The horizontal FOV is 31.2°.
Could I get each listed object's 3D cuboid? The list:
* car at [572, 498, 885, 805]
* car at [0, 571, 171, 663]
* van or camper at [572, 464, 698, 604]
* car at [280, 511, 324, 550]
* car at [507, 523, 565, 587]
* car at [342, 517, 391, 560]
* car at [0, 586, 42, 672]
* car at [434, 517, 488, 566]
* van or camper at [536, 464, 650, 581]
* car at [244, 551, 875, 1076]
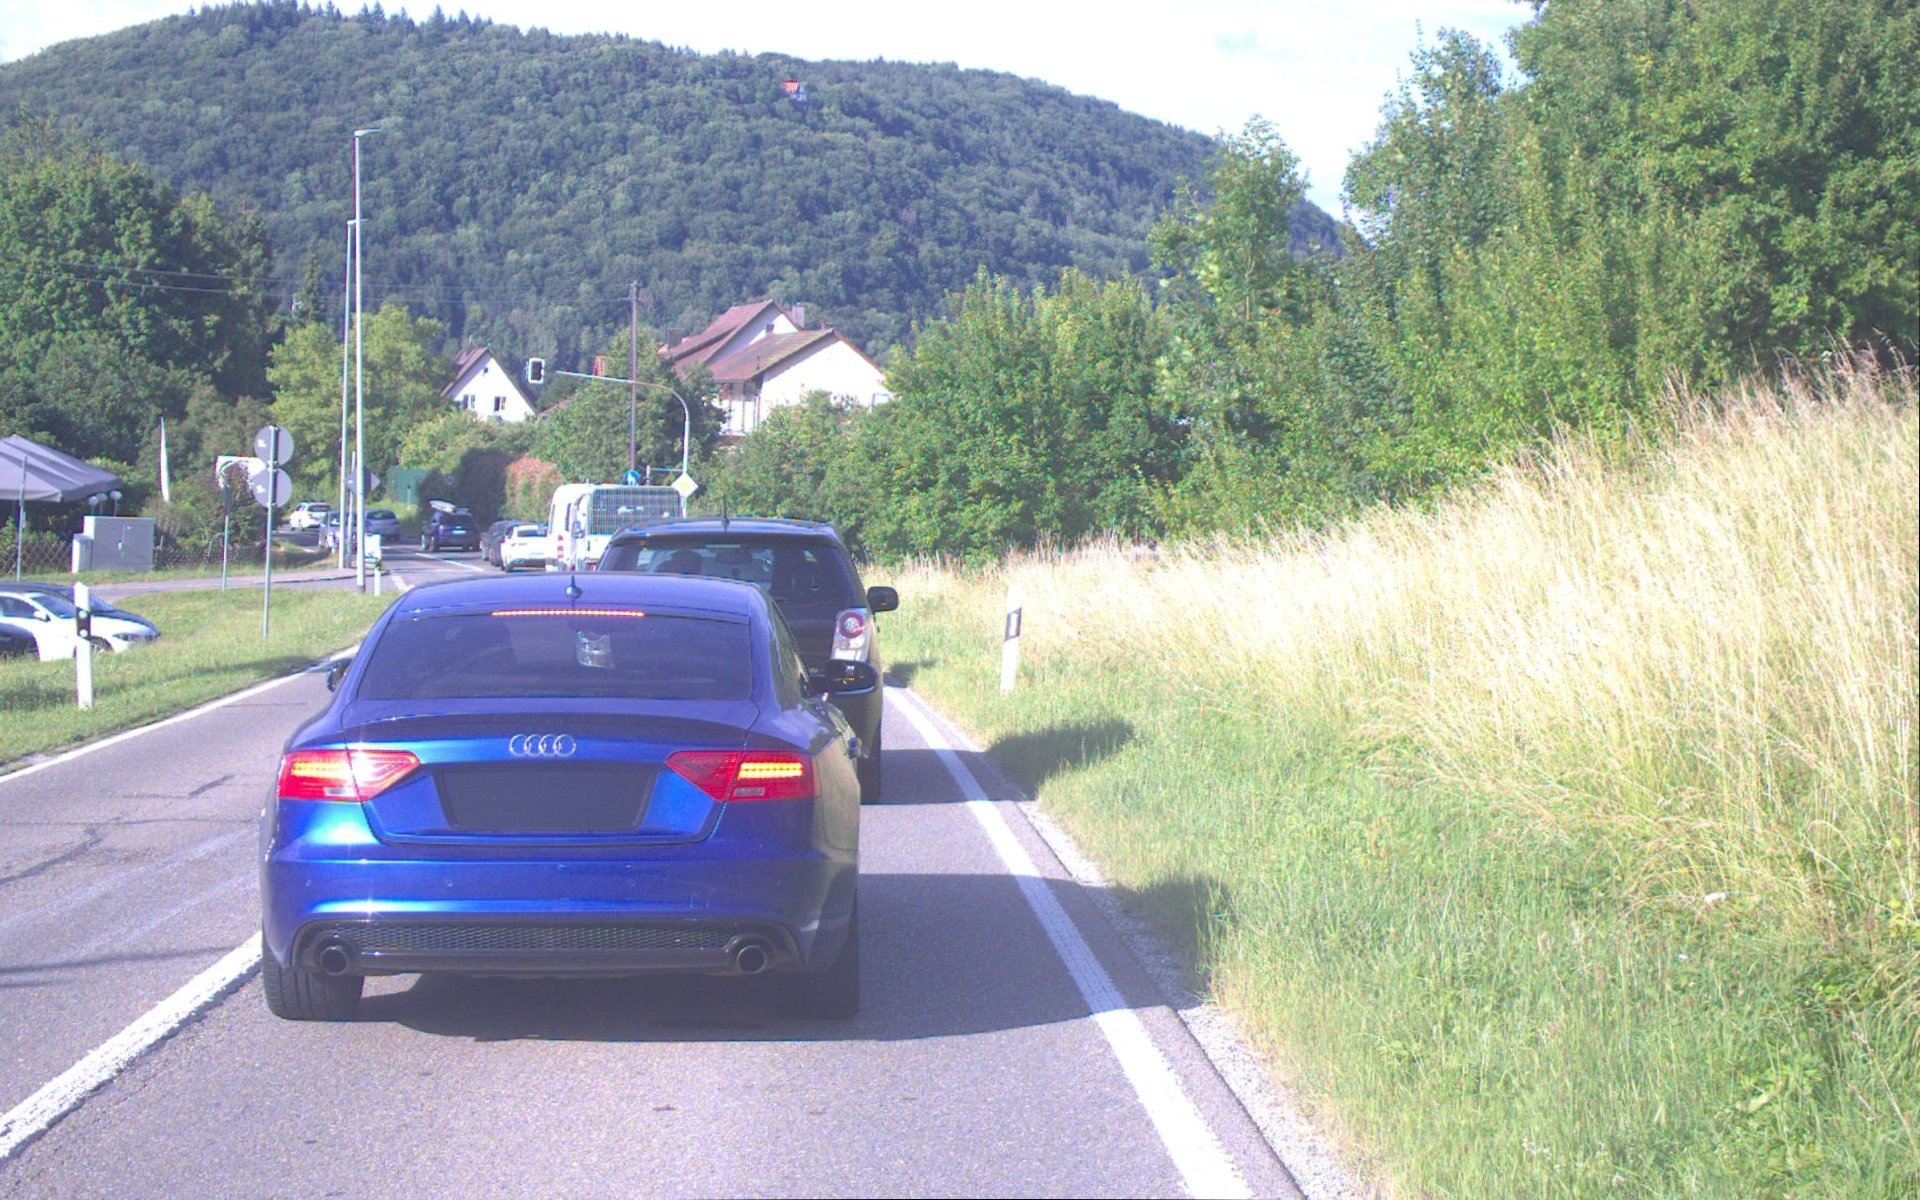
[{"bbox_3d":[-1.356,0.252,20.374,1.645,1.619,3.517,2,1,-3],"label":"car"},{"bbox_3d":[-16.878,0.309,63.769,4.037,1.655,1.655,-1,1,9],"label":"car"},{"bbox_3d":[-6.170,-1.215,64.745,2.051,2.497,5.813,-1,1,-8],"label":"van or camper"},{"bbox_3d":[-33.104,-3.472,172.880,1.676,1.918,4.001,-1,1,-18],"label":"car"},{"bbox_3d":[-13.052,-1.387,105.681,1.659,1.918,4.001,-1,1,-9],"label":"car"},{"bbox_3d":[-26.949,-2.791,156.045,1.676,1.918,4.001,-1,1,-18],"label":"car"},{"bbox_3d":[-17.887,0.499,59.206,3.713,1.434,1.509,-1,1,9],"label":"car"},{"bbox_3d":[-20.069,-2.338,138.153,1.676,1.918,4.001,-1,1,-15],"label":"car"},{"bbox_3d":[-8.824,-1.819,82.233,2.280,2.704,5.769,-1,1,-10],"label":"van or camper"},{"bbox_3d":[-1.237,0.575,11.401,1.742,1.445,3.517,-1,1,-4],"label":"car"}]
